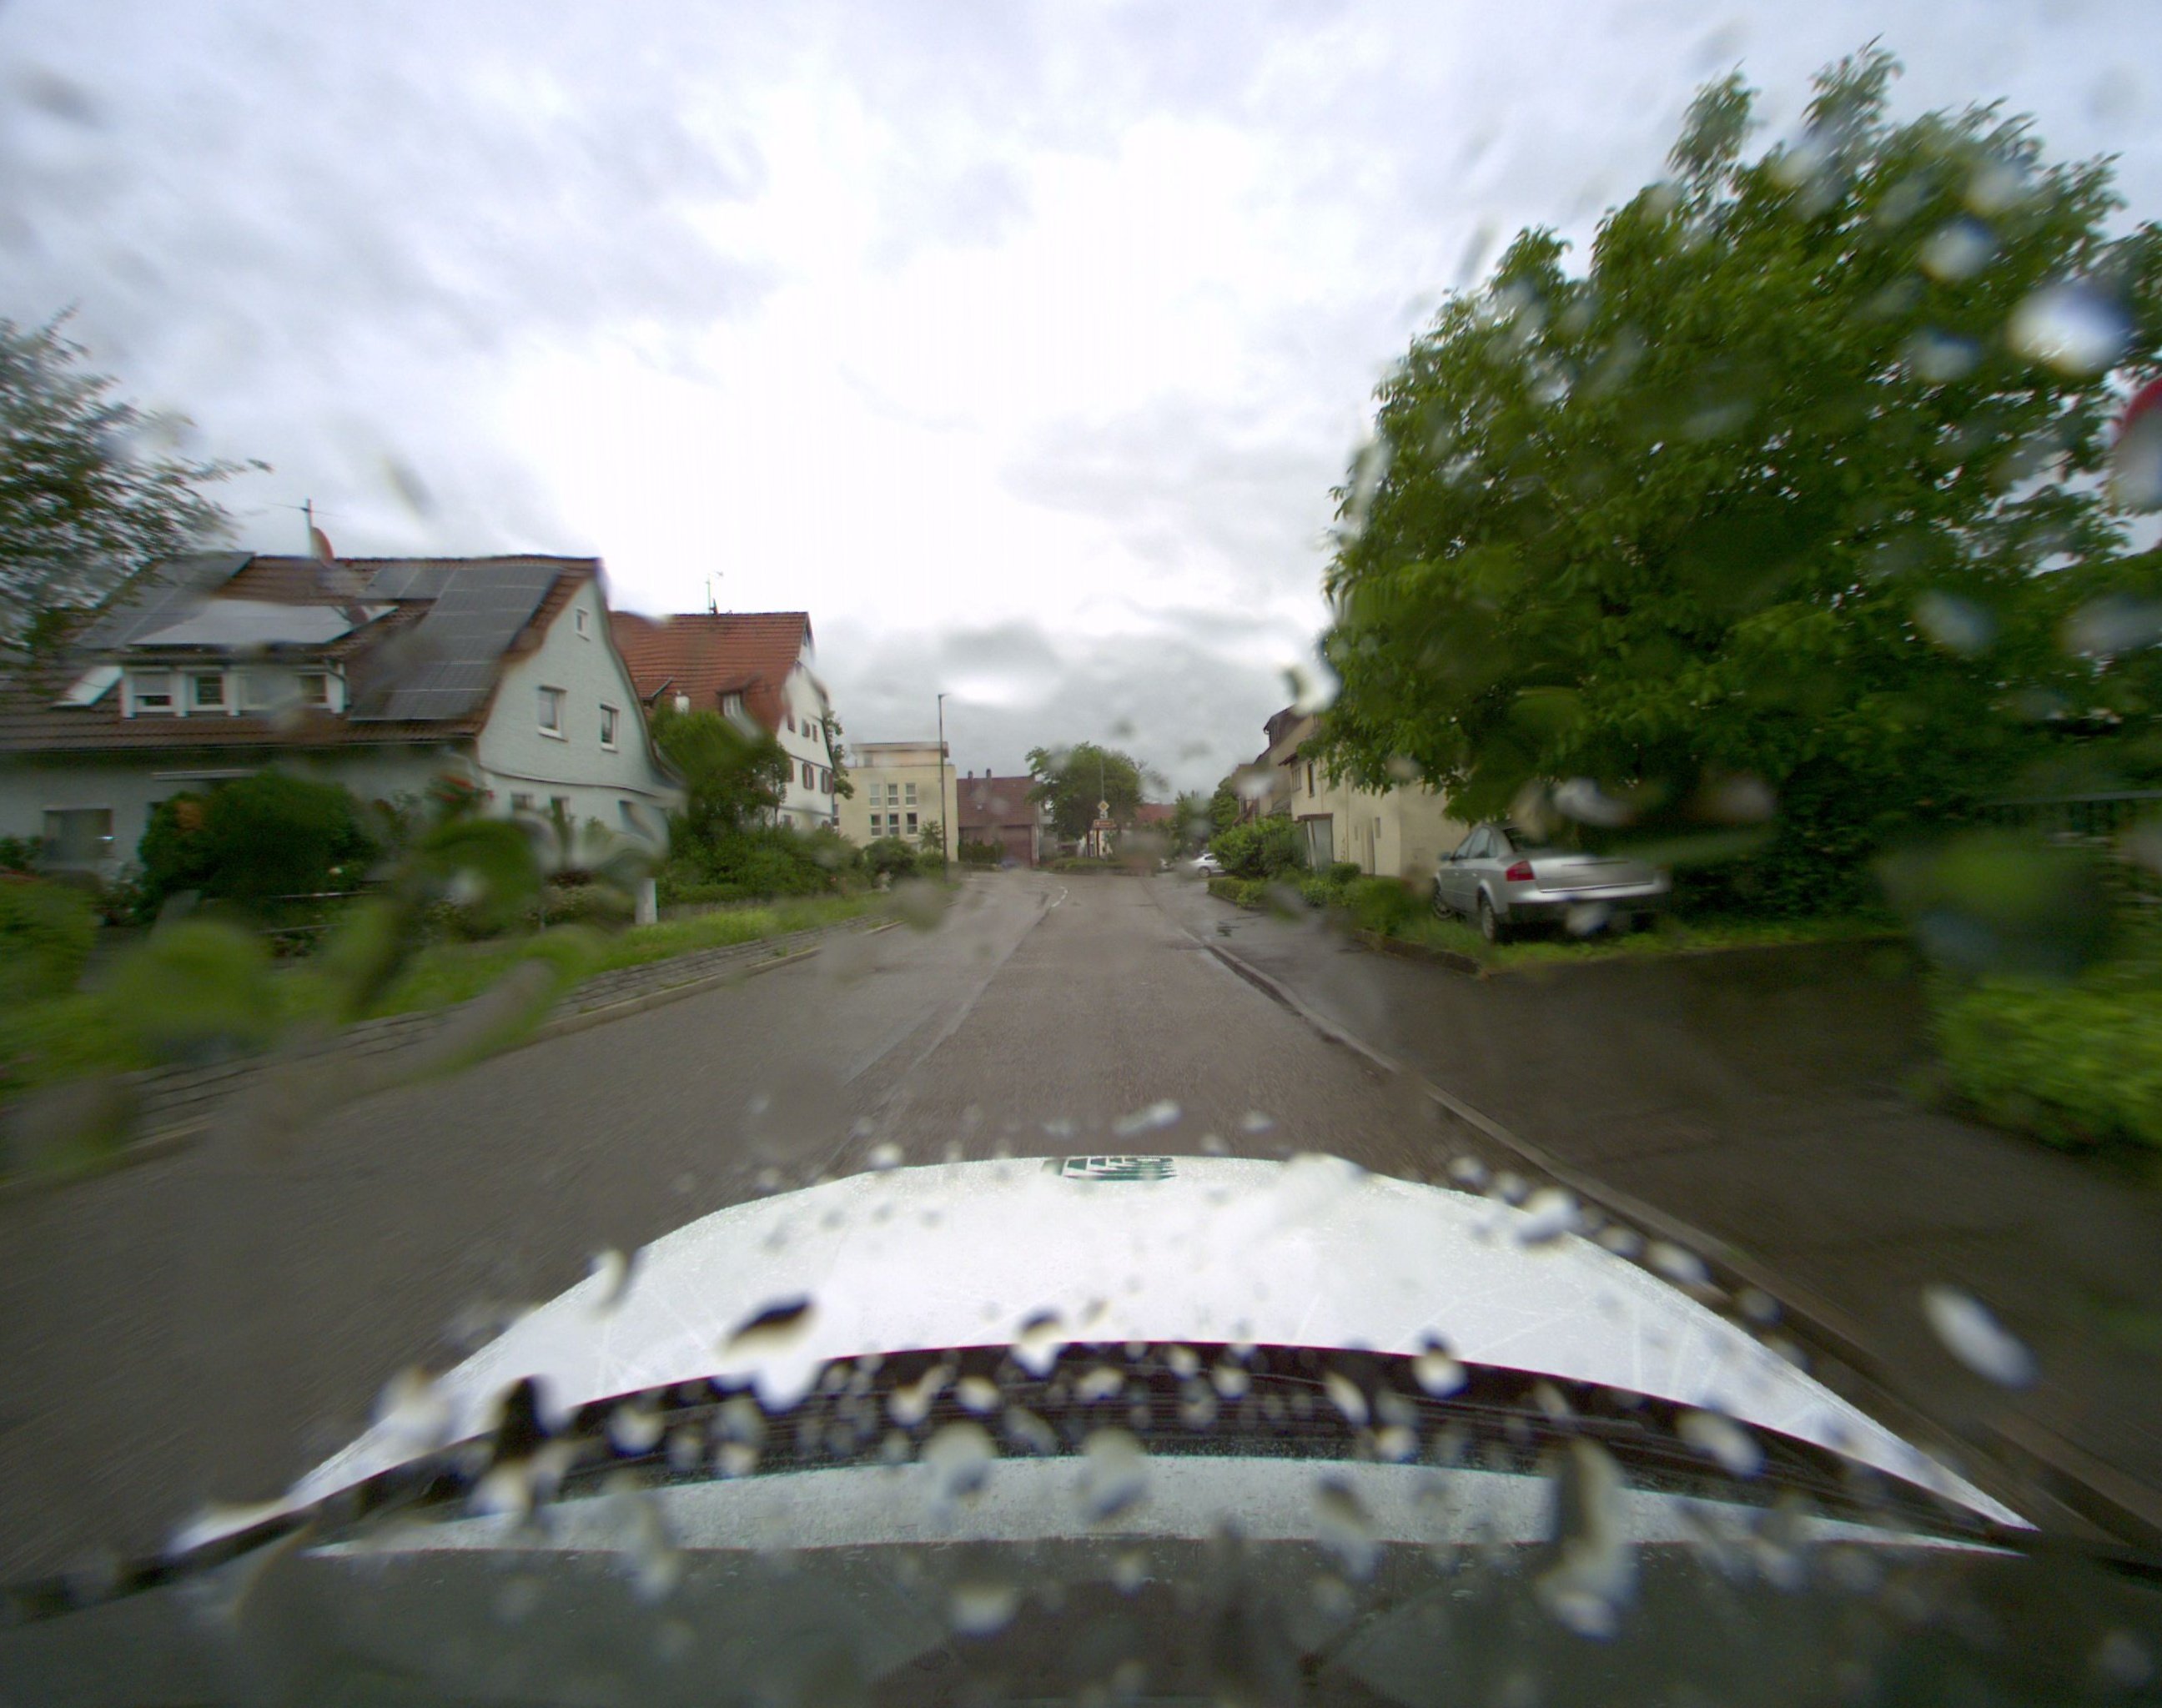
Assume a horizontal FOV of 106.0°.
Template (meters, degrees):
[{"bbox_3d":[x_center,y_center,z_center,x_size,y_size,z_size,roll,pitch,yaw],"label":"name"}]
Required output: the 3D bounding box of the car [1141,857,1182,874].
[{"bbox_3d":[8.399,1.188,84.875,3.959,1.626,2.007,-2,0,13],"label":"car"}]

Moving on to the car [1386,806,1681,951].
[{"bbox_3d":[5.348,0.255,10.229,1.632,1.430,3.677,-2,0,0],"label":"car"}]

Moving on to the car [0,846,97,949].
[{"bbox_3d":[-18.250,0.634,12.515,3.975,1.550,1.779,1,0,-1],"label":"car"}]

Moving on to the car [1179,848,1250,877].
[{"bbox_3d":[7.865,0.483,47.739,3.928,1.408,2.006,-3,-1,11],"label":"car"}]

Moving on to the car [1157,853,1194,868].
[{"bbox_3d":[10.457,0.702,89.891,3.965,1.420,2.004,-2,0,7],"label":"car"}]
